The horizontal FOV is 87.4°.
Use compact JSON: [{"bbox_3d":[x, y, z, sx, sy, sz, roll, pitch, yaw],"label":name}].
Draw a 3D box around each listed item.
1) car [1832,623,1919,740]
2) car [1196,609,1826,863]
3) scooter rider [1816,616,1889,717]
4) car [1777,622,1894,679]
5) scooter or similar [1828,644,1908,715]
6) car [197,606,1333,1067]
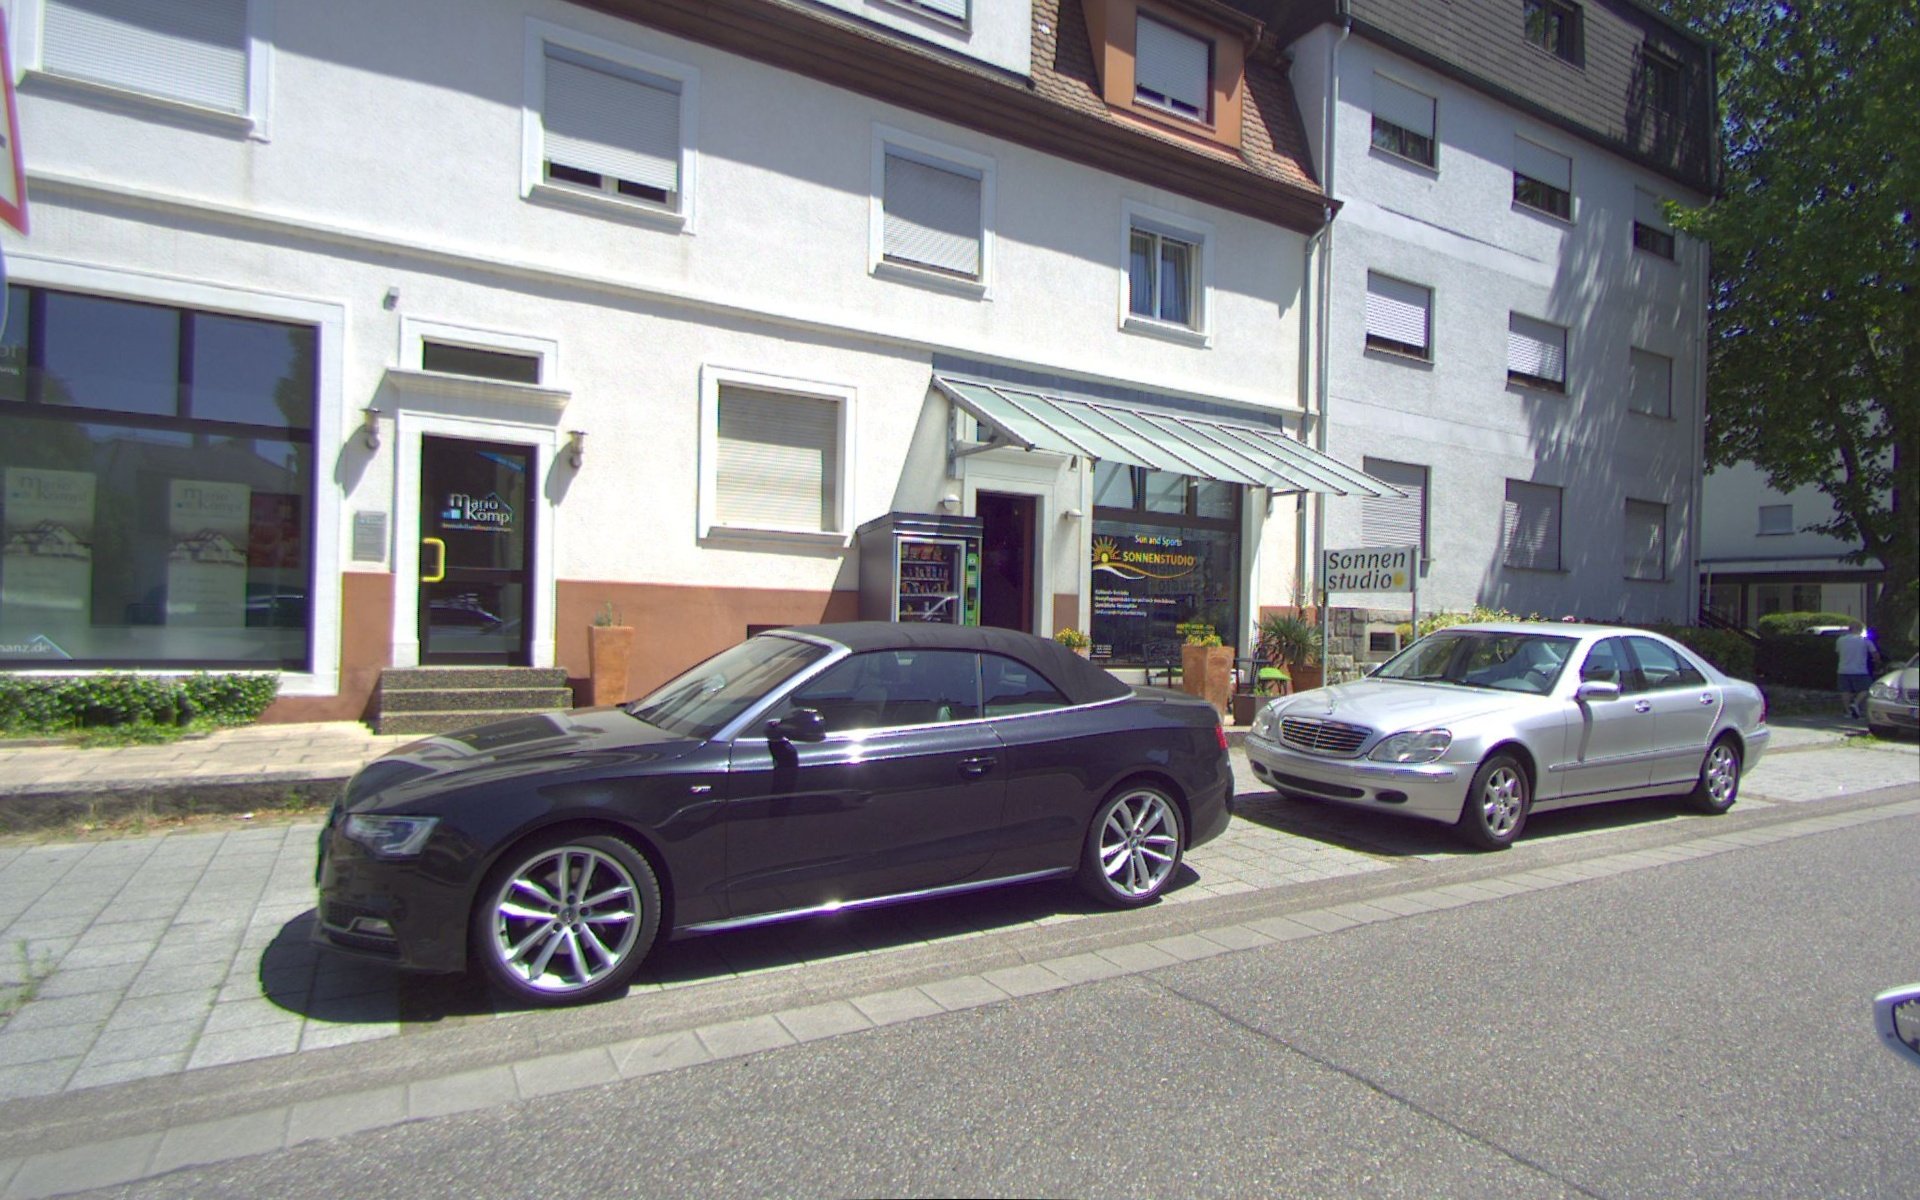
[{"bbox_3d":[14.525,1.125,14.150,4.812,1.471,1.971,1,0,-31],"label":"car"},{"bbox_3d":[4.607,0.879,8.154,5.293,1.471,1.972,2,0,-29],"label":"car"},{"bbox_3d":[14.804,1.089,16.672,0.866,1.596,0.586,1,2,-28],"label":"scooter rider"},{"bbox_3d":[25.778,1.440,29.723,1.863,1.506,3.988,1,-1,30],"label":"car"},{"bbox_3d":[15.338,1.324,16.970,1.015,1.113,0.660,1,2,-28],"label":"scooter or similar"},{"bbox_3d":[-0.598,0.790,5.177,5.036,1.392,1.934,2,0,-29],"label":"car"}]
